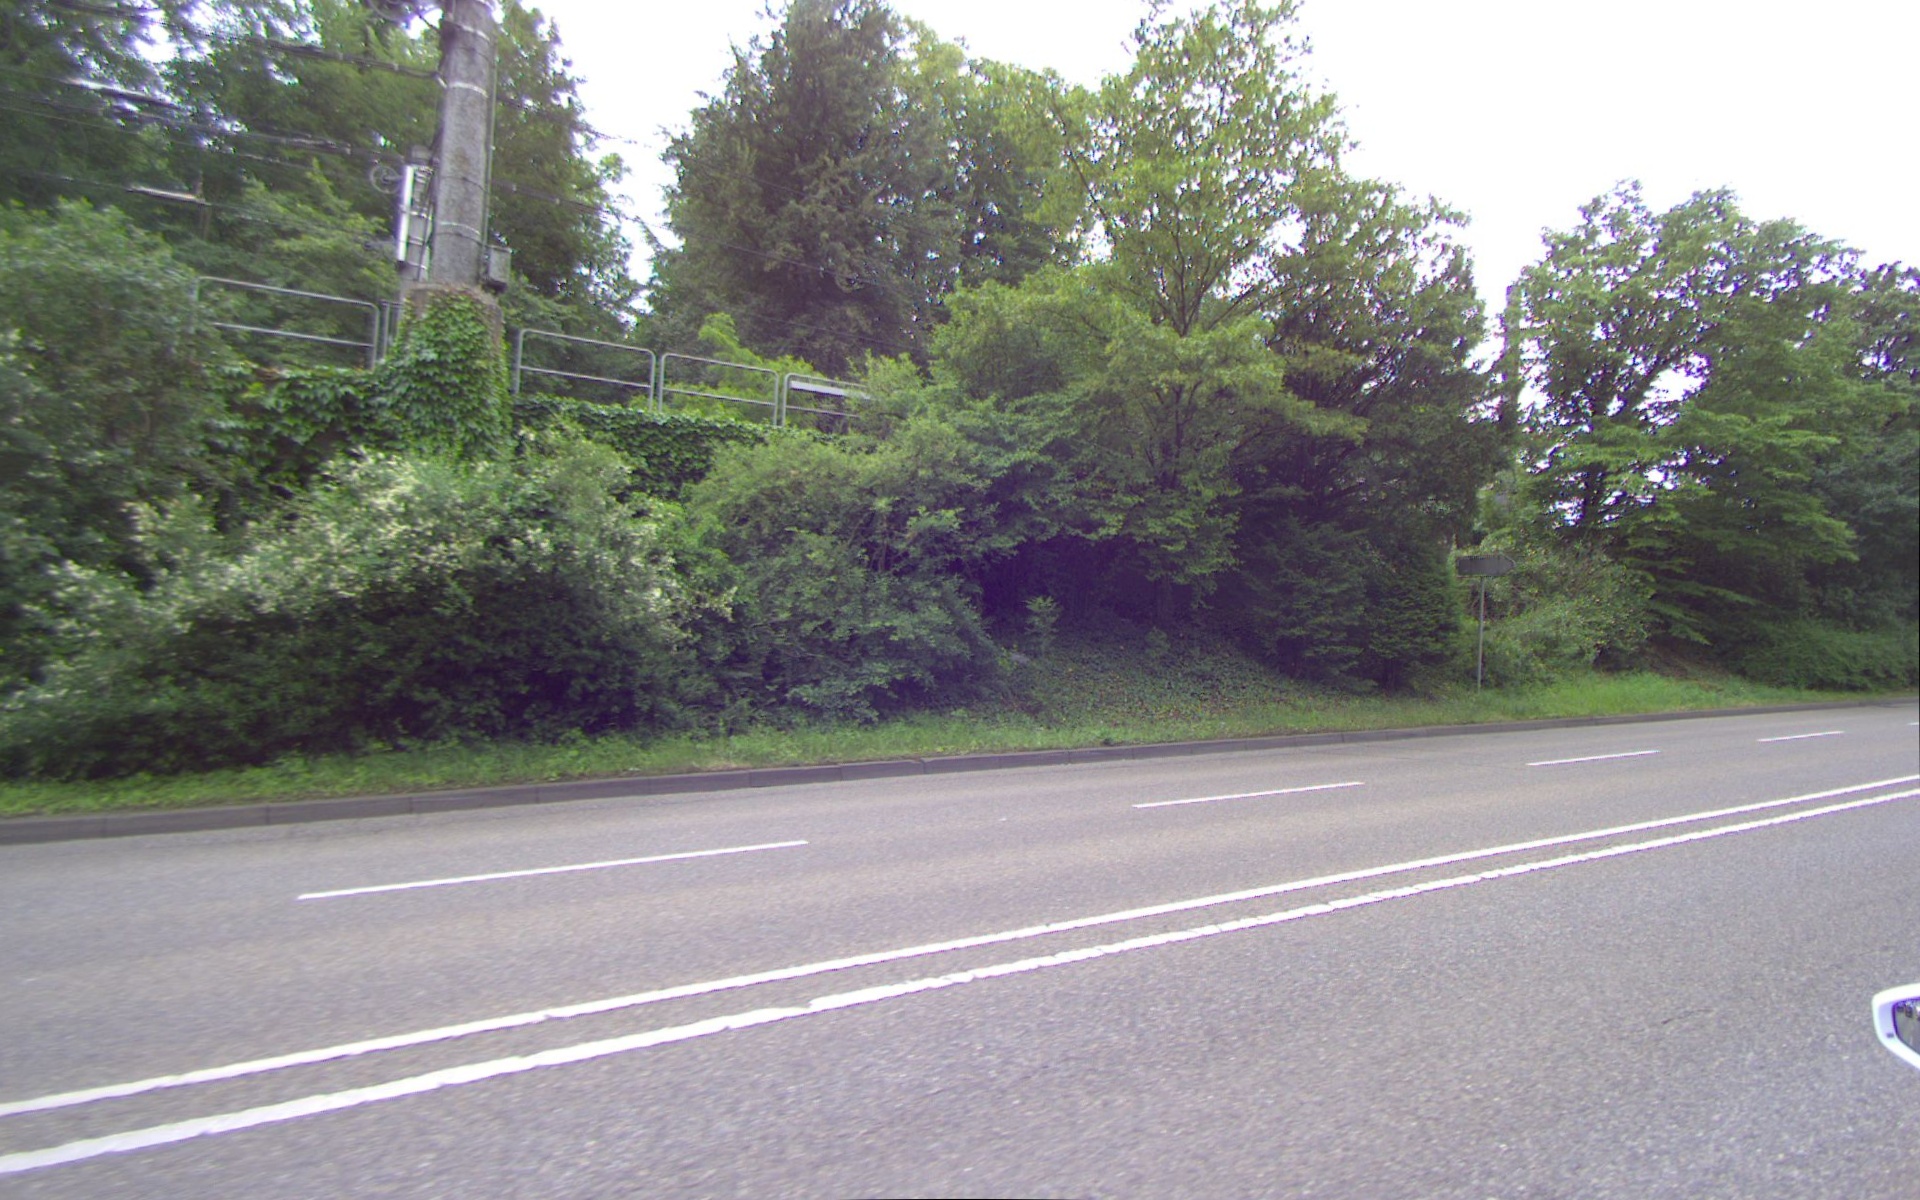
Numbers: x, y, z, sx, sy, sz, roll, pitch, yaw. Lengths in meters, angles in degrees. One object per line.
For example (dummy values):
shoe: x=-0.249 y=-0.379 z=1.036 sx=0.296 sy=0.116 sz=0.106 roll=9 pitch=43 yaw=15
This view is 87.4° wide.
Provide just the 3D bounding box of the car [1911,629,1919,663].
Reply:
car: x=51.155 y=2.401 z=50.627 sx=1.829 sy=1.717 sz=4.427 roll=-5 pitch=2 yaw=-11
